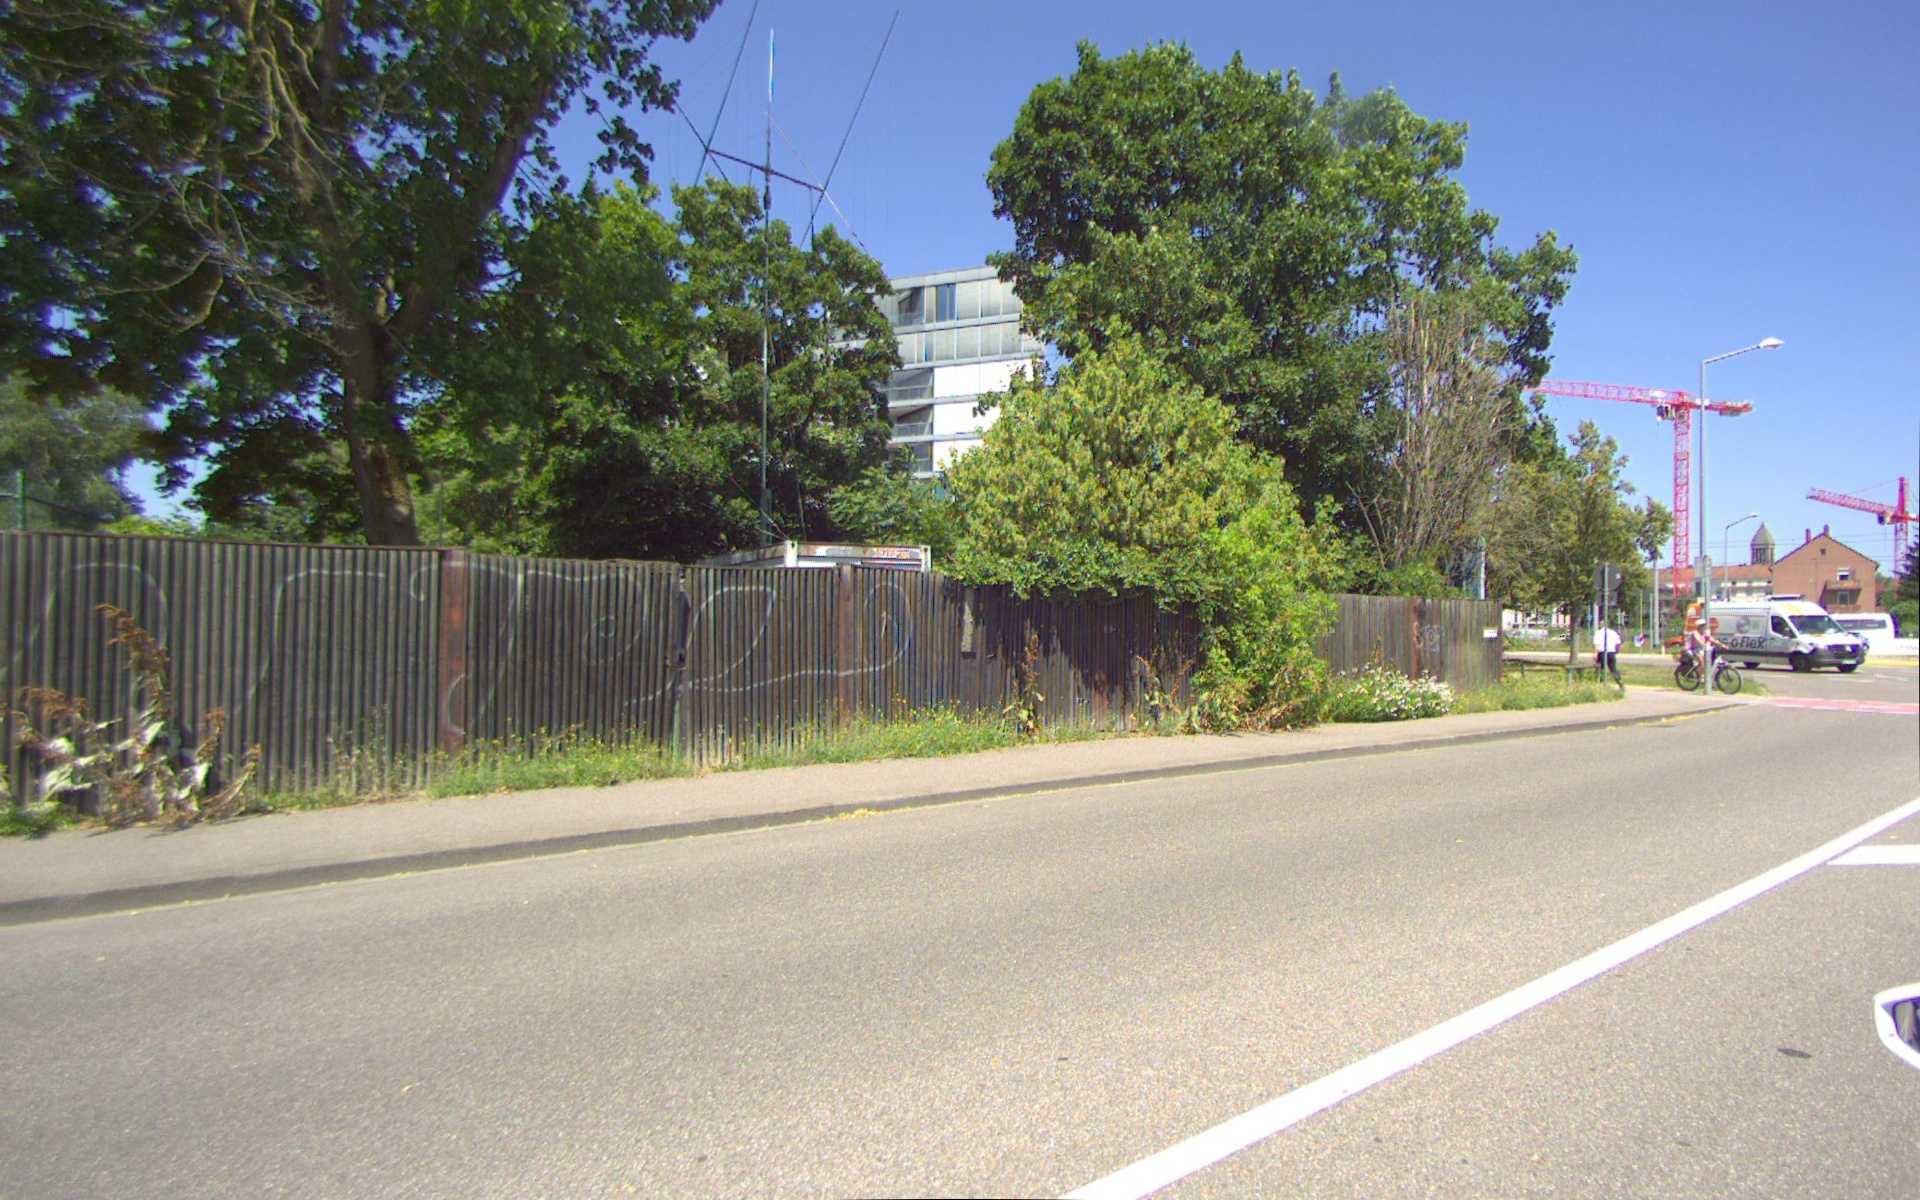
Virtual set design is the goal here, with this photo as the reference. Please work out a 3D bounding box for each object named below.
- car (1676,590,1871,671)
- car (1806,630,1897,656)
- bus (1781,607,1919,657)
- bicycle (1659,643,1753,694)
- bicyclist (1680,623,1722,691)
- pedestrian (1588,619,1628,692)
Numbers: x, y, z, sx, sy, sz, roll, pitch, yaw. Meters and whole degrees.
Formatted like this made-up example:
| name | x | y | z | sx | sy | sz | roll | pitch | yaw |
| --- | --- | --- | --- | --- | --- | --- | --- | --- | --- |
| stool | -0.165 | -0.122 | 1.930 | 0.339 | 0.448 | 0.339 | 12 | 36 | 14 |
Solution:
| name | x | y | z | sx | sy | sz | roll | pitch | yaw |
| --- | --- | --- | --- | --- | --- | --- | --- | --- | --- |
| car | 31.670 | 1.103 | 39.500 | 1.961 | 2.865 | 6.883 | 2 | 0 | -1 |
| car | 55.136 | 2.673 | 62.152 | 4.188 | 1.421 | 1.732 | 2 | 0 | -3 |
| bus | 63.657 | 2.245 | 71.876 | 7.137 | 3.215 | 2.260 | 2 | 0 | 24 |
| bicycle | 19.595 | 1.785 | 26.453 | 0.623 | 1.237 | 2.094 | 1 | -1 | -12 |
| bicyclist | 19.575 | 1.499 | 26.548 | 0.582 | 1.775 | 0.671 | 1 | -2 | -12 |
| pedestrian | 16.469 | 1.389 | 25.553 | 0.625 | 1.810 | 0.969 | 2 | 0 | 21 |
